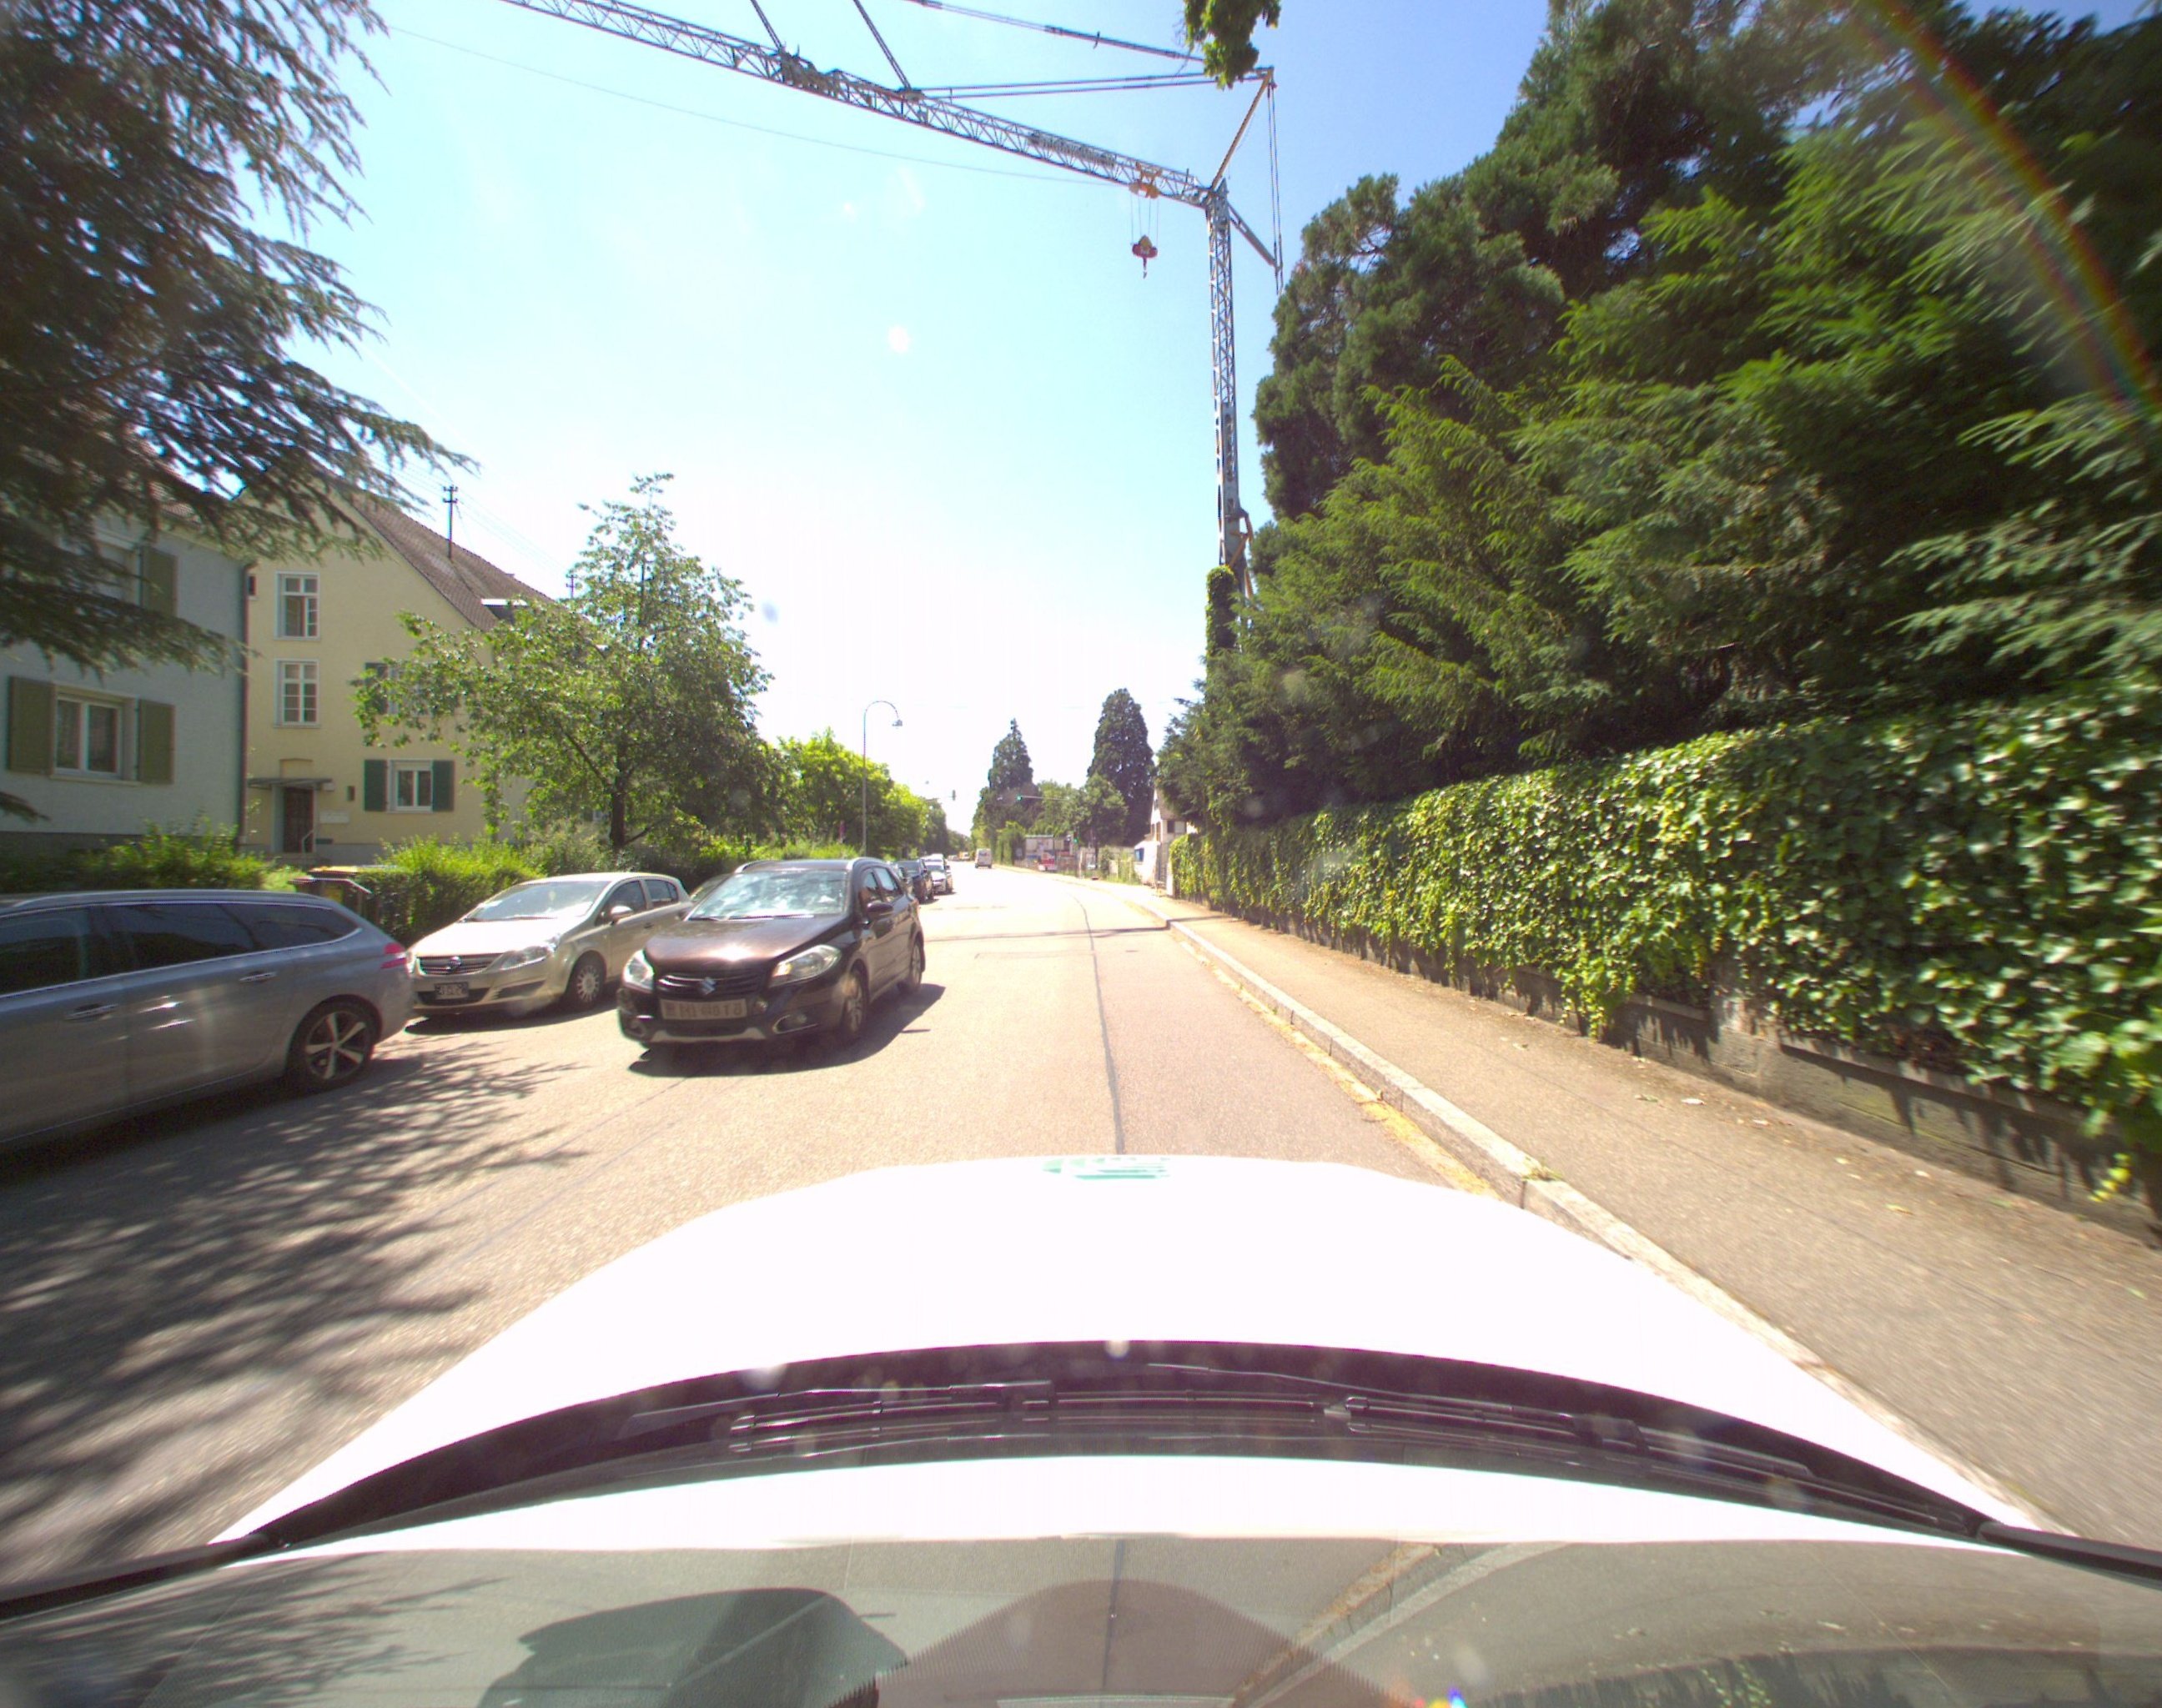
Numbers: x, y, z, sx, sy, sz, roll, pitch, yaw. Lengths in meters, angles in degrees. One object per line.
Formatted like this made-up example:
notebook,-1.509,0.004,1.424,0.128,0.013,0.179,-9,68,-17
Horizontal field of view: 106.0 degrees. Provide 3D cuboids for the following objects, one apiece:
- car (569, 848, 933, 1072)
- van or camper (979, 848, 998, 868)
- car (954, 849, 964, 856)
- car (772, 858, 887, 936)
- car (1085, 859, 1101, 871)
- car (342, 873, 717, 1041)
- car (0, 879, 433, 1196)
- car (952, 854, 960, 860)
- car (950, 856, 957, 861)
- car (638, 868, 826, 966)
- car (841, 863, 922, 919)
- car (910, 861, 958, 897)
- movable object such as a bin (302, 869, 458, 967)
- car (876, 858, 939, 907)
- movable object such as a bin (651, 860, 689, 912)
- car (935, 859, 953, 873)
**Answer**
car,-2.797,0.779,8.058,1.893,1.575,4.139,-2,0,-1
van or camper,-12.285,0.515,107.680,2.262,2.528,4.745,-2,0,-9
car,-27.579,-0.335,184.118,1.995,1.662,3.984,-1,0,-12
car,-6.035,0.959,19.949,1.677,1.639,3.787,-3,0,-2
car,1.272,1.195,89.679,1.706,1.270,3.384,0,0,0
car,-6.135,1.033,9.708,1.790,1.442,3.785,-3,0,1
car,-6.112,0.964,4.341,1.790,1.442,4.273,-3,0,1
car,-35.059,0.756,228.308,1.995,1.662,3.984,-1,0,-12
car,-38.208,1.362,243.551,1.995,1.662,3.984,-1,0,-12
car,-6.126,1.033,14.810,1.675,1.401,3.790,-3,0,1
car,-6.099,1.084,25.345,1.678,1.476,4.323,-3,0,-5
car,-6.643,1.095,37.230,1.678,1.441,4.240,-3,0,-5
movable object such as a bin,-9.547,0.840,11.161,1.296,1.199,0.968,-2,0,-17
car,-6.453,1.003,30.693,1.678,1.637,4.323,-3,0,-5
movable object such as a bin,-12.102,0.926,23.989,0.656,1.452,0.916,-2,0,-4
car,-15.338,1.313,90.833,1.761,1.447,3.908,-2,0,-12
